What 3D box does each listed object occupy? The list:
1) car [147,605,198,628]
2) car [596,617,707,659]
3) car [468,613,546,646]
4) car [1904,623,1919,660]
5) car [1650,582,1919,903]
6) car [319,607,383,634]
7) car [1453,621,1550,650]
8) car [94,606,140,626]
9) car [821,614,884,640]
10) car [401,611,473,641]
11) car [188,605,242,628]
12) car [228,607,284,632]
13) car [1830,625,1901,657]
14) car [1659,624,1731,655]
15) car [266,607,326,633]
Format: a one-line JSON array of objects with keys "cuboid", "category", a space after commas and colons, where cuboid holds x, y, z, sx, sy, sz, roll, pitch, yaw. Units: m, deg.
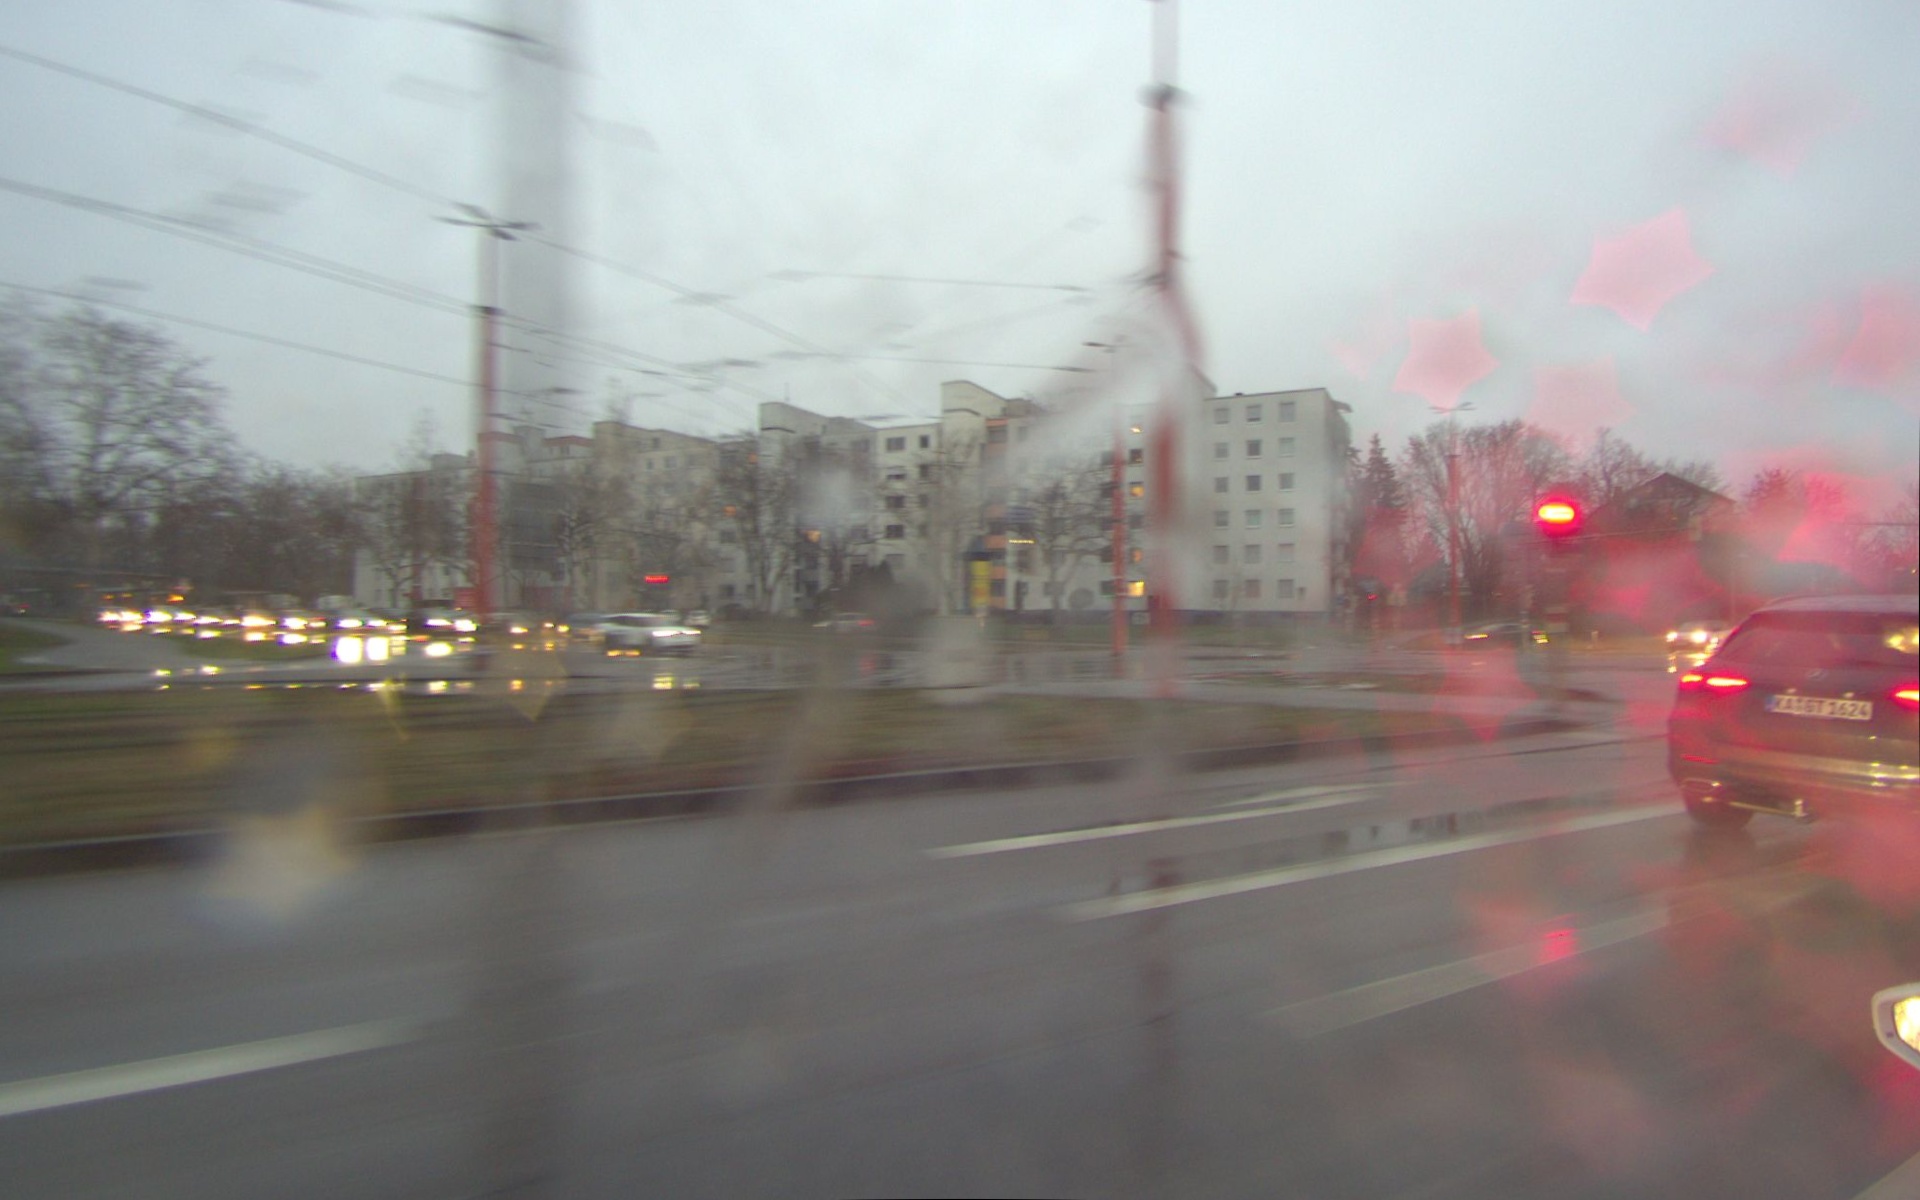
[{"cuboid": [-56.712, 1.182, 72.328, 3.913, 1.565, 1.708, 0, -1, 34], "category": "car"}, {"cuboid": [-12.253, 1.471, 39.772, 4.365, 1.565, 1.847, 0, -1, 34], "category": "car"}, {"cuboid": [-22.468, 1.448, 49.819, 3.932, 1.565, 1.708, 0, -1, 34], "category": "car"}, {"cuboid": [43.736, 1.826, 44.517, 4.034, 1.603, 1.847, 1, -1, -32], "category": "car"}, {"cuboid": [6.709, 0.784, 6.669, 4.413, 1.670, 1.814, 1, -1, -30], "category": "car"}, {"cuboid": [-35.422, 1.185, 58.400, 3.932, 1.565, 1.708, 0, -1, 34], "category": "car"}, {"cuboid": [30.669, 1.982, 56.996, 4.394, 1.550, 2.001, 0, -1, 8], "category": "car"}, {"cuboid": [-65.469, 1.240, 77.978, 3.913, 1.565, 1.708, 0, -1, 34], "category": "car"}, {"cuboid": [-7.049, 1.783, 65.926, 3.926, 1.661, 1.535, 0, -1, 27], "category": "car"}, {"cuboid": [-27.730, 1.363, 53.245, 3.932, 1.565, 1.708, 0, -1, 34], "category": "car"}, {"cuboid": [-50.854, 1.124, 68.559, 3.913, 1.565, 1.708, 0, -1, 34], "category": "car"}, {"cuboid": [-45.868, 1.255, 65.409, 3.760, 1.565, 1.708, 0, -1, 34], "category": "car"}, {"cuboid": [42.583, 1.919, 47.228, 3.288, 1.439, 1.643, 1, -1, -31], "category": "car"}, {"cuboid": [38.226, 2.038, 52.235, 3.970, 1.515, 1.610, 1, -1, -31], "category": "car"}, {"cuboid": [-41.150, 1.215, 62.257, 3.932, 1.565, 1.708, 0, -1, 34], "category": "car"}]
